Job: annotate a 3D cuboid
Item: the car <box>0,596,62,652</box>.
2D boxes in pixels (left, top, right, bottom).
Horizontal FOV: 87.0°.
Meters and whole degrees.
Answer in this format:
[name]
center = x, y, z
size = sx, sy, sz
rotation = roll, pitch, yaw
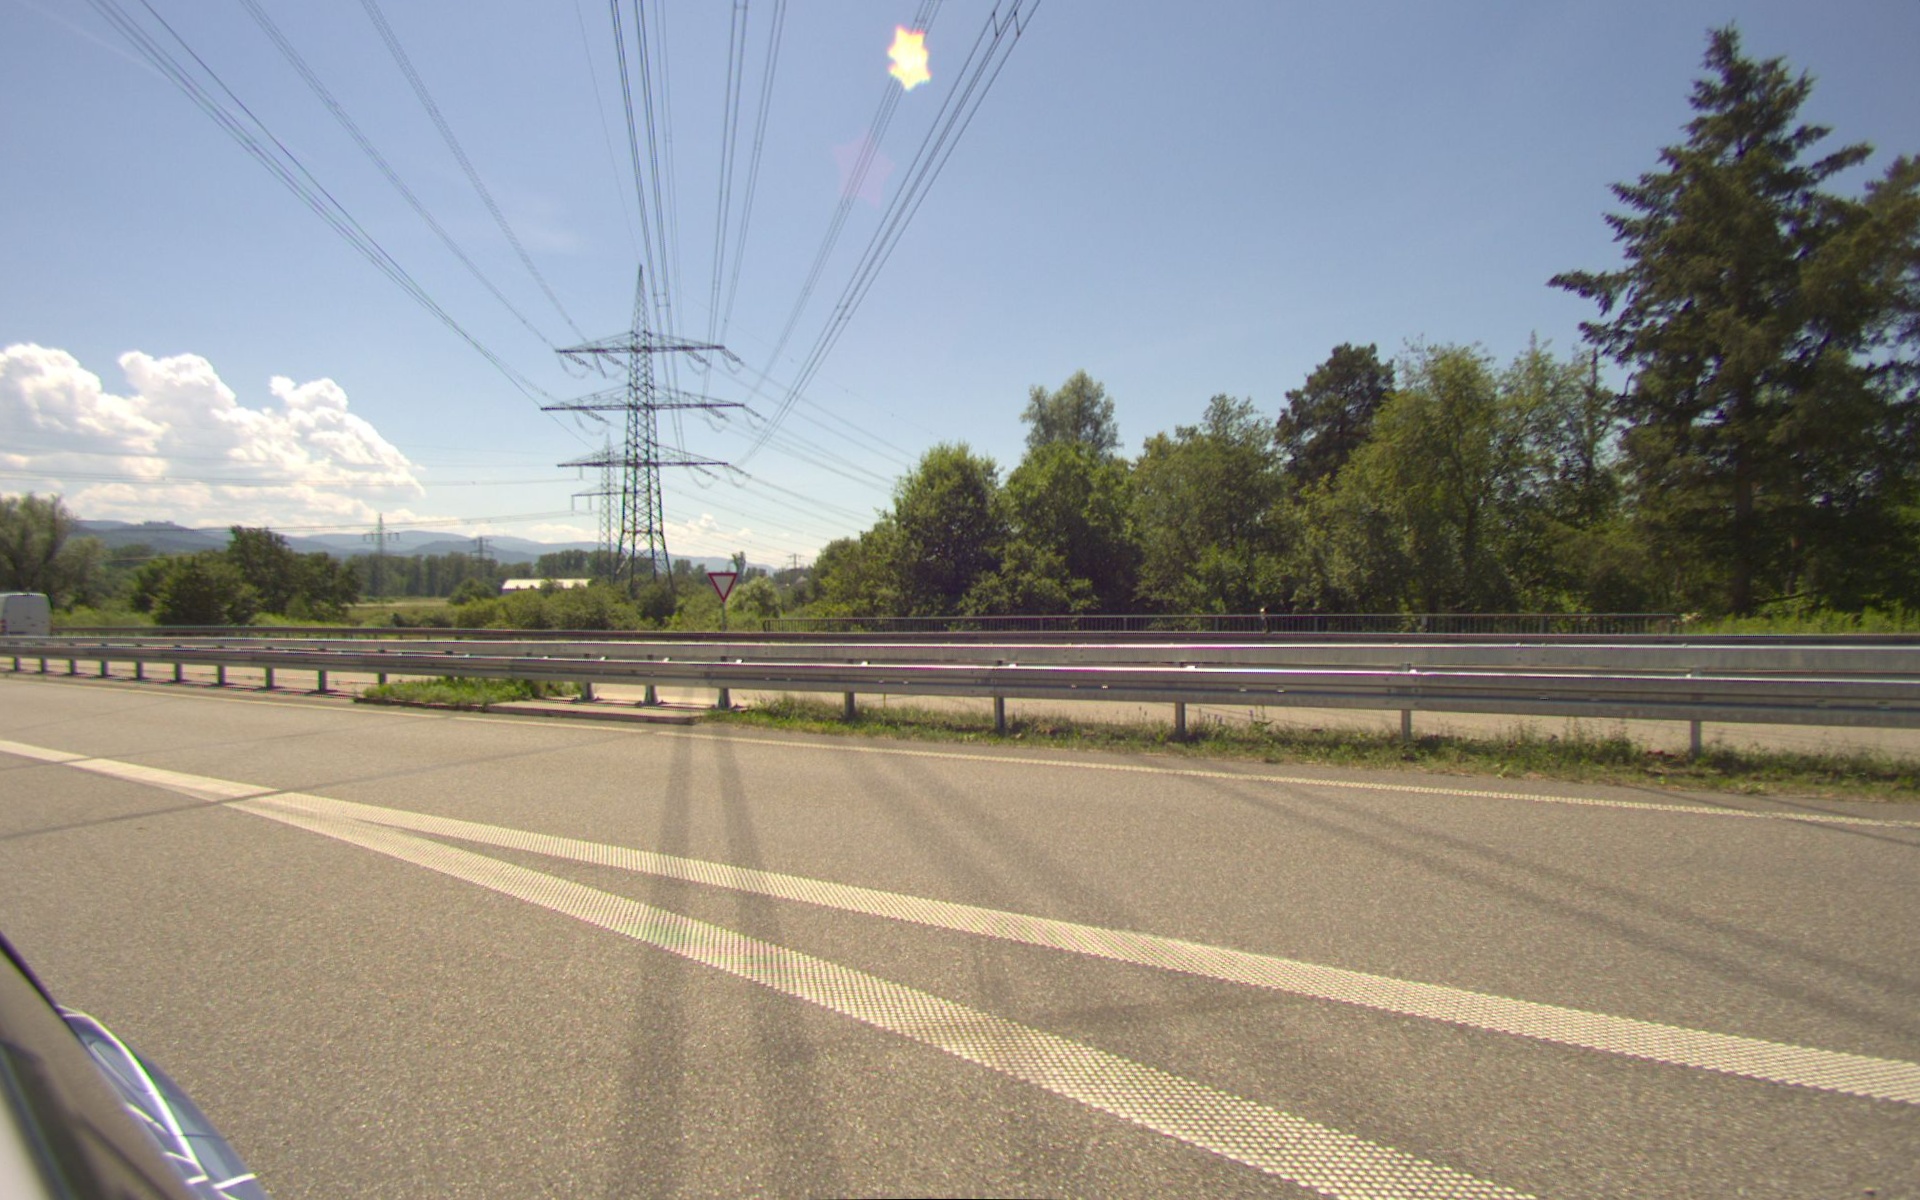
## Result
[car]
center = -47.583, 1.237, 50.416
size = 7.165, 2.638, 2.504
rotation = -1, -2, 34
